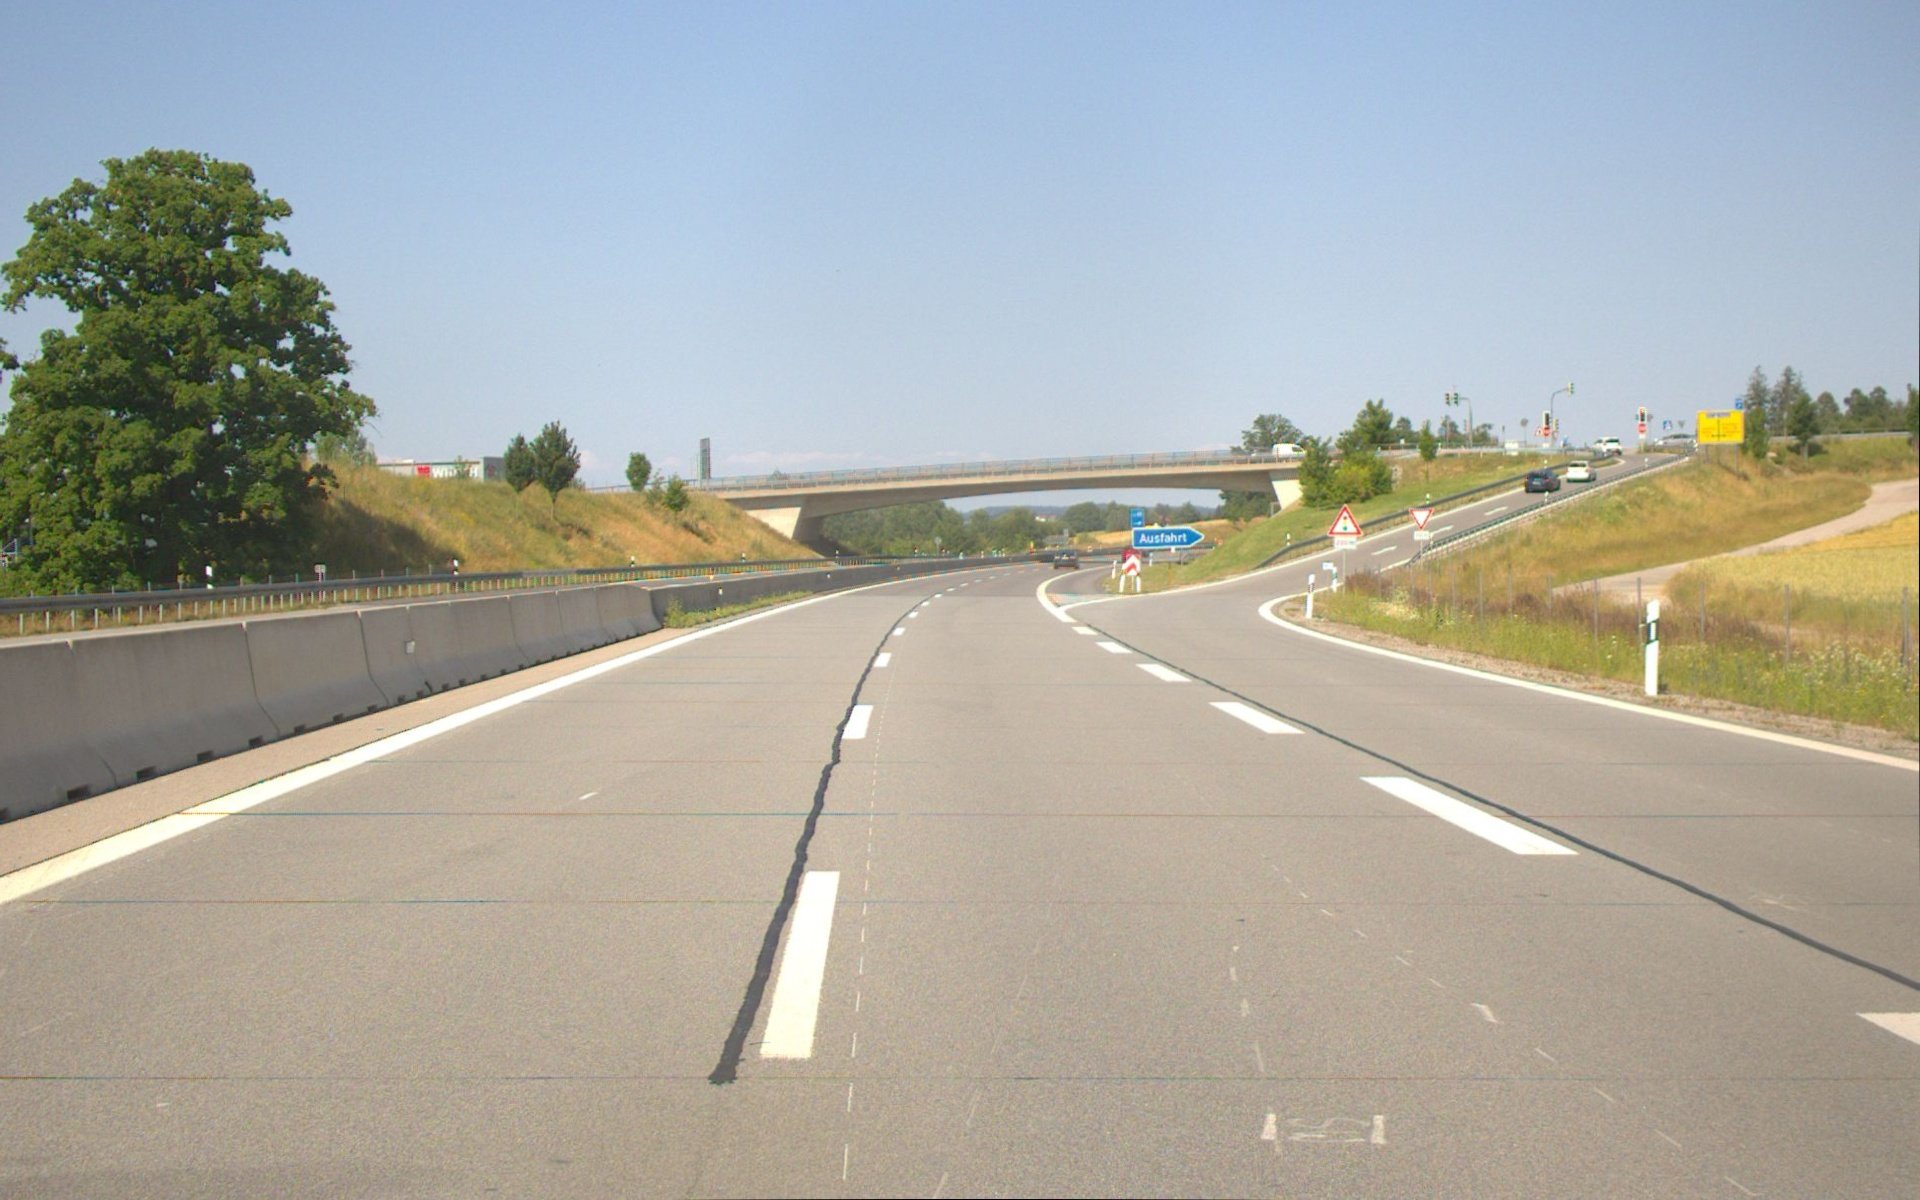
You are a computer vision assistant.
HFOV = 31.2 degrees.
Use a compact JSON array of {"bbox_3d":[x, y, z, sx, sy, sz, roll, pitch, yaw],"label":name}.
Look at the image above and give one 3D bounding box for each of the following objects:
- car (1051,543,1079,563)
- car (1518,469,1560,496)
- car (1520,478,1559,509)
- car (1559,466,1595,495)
[{"bbox_3d":[7.711,-3.484,252.932,1.993,1.415,4.000,-2,1,2],"label":"car"},{"bbox_3d":[36.341,-7.349,215.618,1.995,1.612,3.997,-2,1,18],"label":"car"},{"bbox_3d":[39.389,-7.250,233.720,1.995,2.007,3.997,-2,1,18],"label":"car"},{"bbox_3d":[44.144,-8.548,245.876,1.995,2.007,3.997,-2,1,18],"label":"car"}]
